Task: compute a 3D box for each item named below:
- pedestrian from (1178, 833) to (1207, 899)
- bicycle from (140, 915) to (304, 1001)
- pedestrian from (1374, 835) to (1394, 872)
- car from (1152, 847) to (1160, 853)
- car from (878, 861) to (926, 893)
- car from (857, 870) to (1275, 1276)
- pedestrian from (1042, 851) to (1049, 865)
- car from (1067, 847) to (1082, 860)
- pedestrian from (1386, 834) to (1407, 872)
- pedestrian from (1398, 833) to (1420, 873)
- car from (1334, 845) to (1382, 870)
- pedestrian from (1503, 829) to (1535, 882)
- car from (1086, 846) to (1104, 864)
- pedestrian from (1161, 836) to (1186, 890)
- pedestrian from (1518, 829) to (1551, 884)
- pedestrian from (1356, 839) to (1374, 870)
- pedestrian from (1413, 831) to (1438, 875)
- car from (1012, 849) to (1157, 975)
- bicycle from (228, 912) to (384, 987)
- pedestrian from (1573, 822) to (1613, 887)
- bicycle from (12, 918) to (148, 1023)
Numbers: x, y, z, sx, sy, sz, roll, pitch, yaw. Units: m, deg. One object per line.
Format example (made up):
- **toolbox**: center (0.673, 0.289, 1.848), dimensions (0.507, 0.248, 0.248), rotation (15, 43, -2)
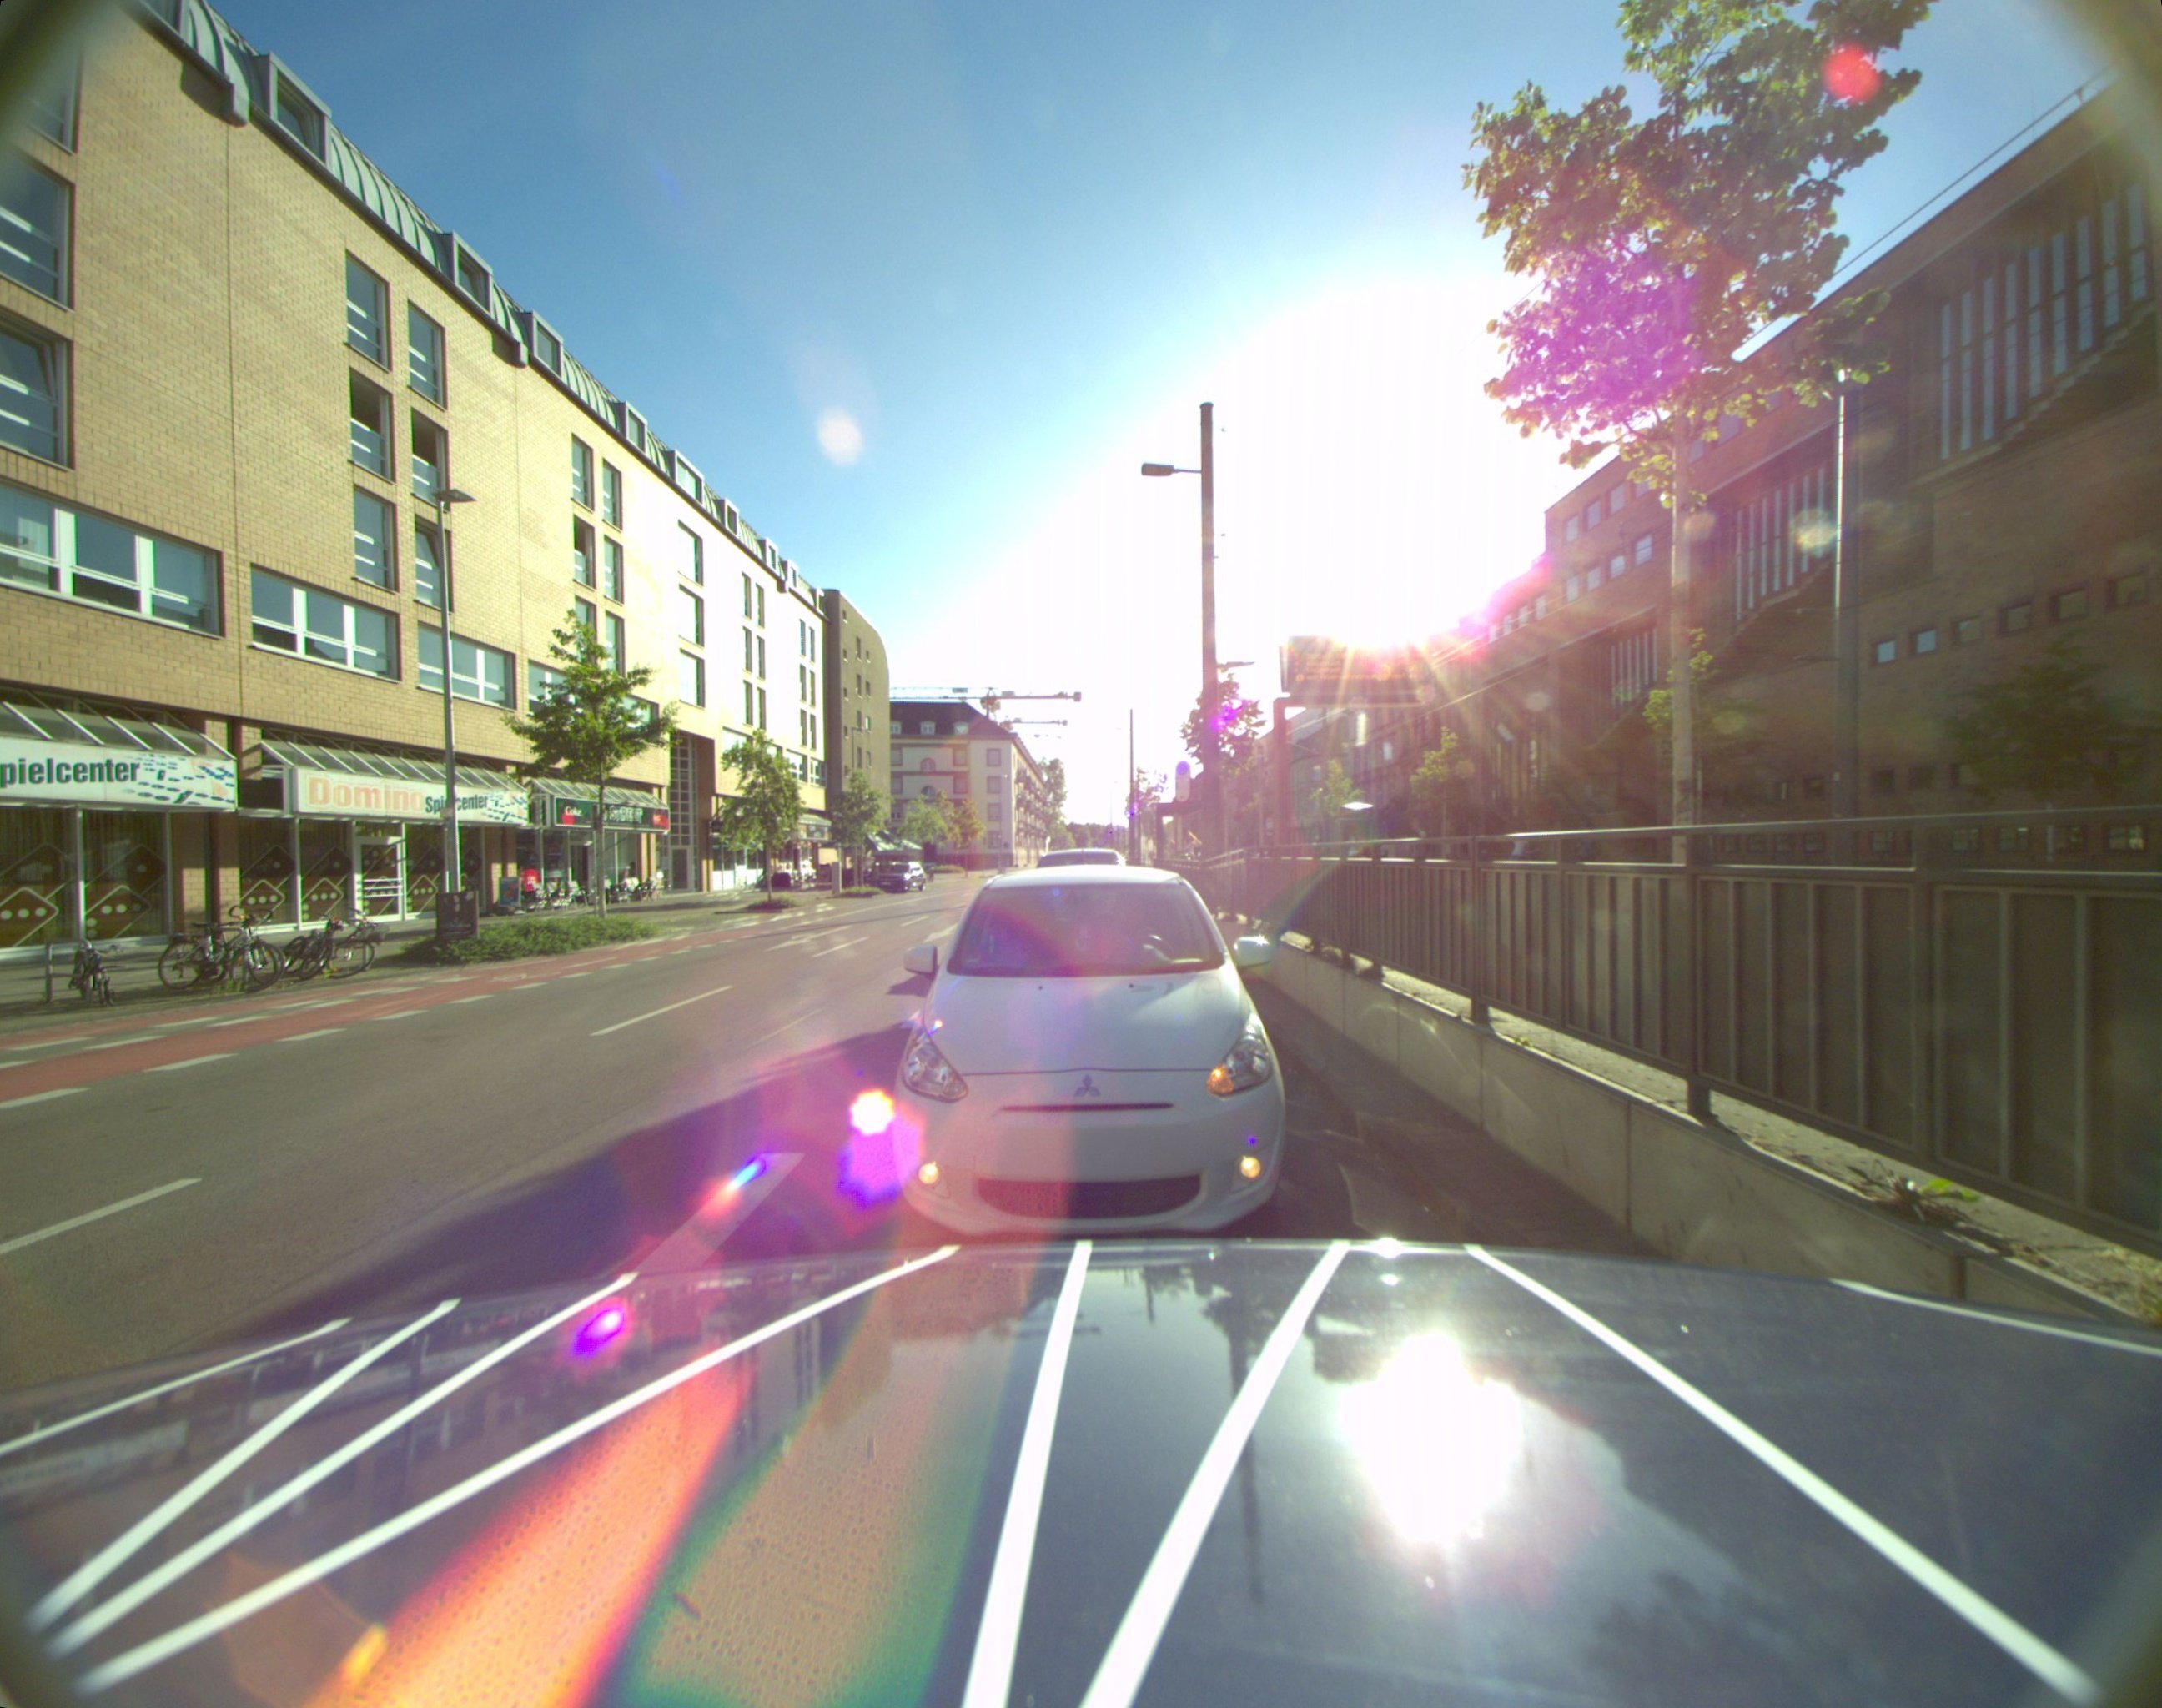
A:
- **pedestrian**: center (3.481, 0.374, 23.860), dimensions (0.784, 2.002, 0.880), rotation (-1, 1, 2)
- **bicycle**: center (-12.365, 1.485, 10.963), dimensions (1.774, 1.135, 0.553), rotation (0, 2, 3)
- **pedestrian**: center (14.409, -0.029, 36.135), dimensions (0.692, 1.732, 0.586), rotation (-1, 1, -2)
- **car**: center (19.552, -0.956, 197.722), dimensions (1.702, 1.477, 3.704), rotation (-1, 0, 2)
- **car**: center (-9.745, 1.208, 41.649), dimensions (1.655, 1.521, 3.693), rotation (-2, 1, 1)
- **car**: center (-0.033, 0.939, 5.174), dimensions (1.640, 1.458, 4.186), rotation (-2, 1, 1)
- **pedestrian**: center (-4.050, 0.456, 86.993), dimensions (0.804, 1.656, 0.891), rotation (-1, 1, -5)
- **car**: center (-0.873, -0.043, 96.815), dimensions (1.829, 1.644, 3.682), rotation (-1, 0, -1)
- **pedestrian**: center (14.467, -0.045, 34.868), dimensions (0.692, 1.732, 0.586), rotation (-1, 1, -2)
- **pedestrian**: center (14.464, -0.030, 33.522), dimensions (0.692, 1.732, 0.586), rotation (-1, 1, -2)
- **car**: center (17.289, 0.211, 47.535), dimensions (1.702, 1.477, 3.704), rotation (-1, 0, 1)
- **pedestrian**: center (14.491, 0.043, 25.162), dimensions (0.692, 1.732, 0.586), rotation (-1, 1, -2)
- **car**: center (1.585, 0.086, 86.998), dimensions (1.998, 1.958, 4.000), rotation (-1, 0, 1)
- **pedestrian**: center (3.462, 0.323, 28.483), dimensions (0.784, 2.002, 0.880), rotation (-1, 1, -1)
- **pedestrian**: center (14.528, 0.066, 24.329), dimensions (0.692, 1.732, 0.586), rotation (-1, 1, -2)
- **pedestrian**: center (14.486, 0.043, 38.750), dimensions (0.692, 1.566, 0.586), rotation (-1, 1, -2)
- **pedestrian**: center (13.956, -0.040, 30.788), dimensions (0.692, 1.732, 0.586), rotation (-1, 1, -2)
- **car**: center (0.075, 0.795, 12.744), dimensions (1.955, 1.652, 4.355), rotation (-2, 1, 1)
- **bicycle**: center (-12.403, 1.514, 12.194), dimensions (1.774, 1.065, 0.737), rotation (0, 2, 3)
- **pedestrian**: center (13.951, 0.017, 20.703), dimensions (0.692, 1.732, 0.586), rotation (-1, 1, -2)
- **bicycle**: center (-12.824, 1.451, 9.730), dimensions (1.771, 1.142, 0.554), rotation (1, 2, 21)
